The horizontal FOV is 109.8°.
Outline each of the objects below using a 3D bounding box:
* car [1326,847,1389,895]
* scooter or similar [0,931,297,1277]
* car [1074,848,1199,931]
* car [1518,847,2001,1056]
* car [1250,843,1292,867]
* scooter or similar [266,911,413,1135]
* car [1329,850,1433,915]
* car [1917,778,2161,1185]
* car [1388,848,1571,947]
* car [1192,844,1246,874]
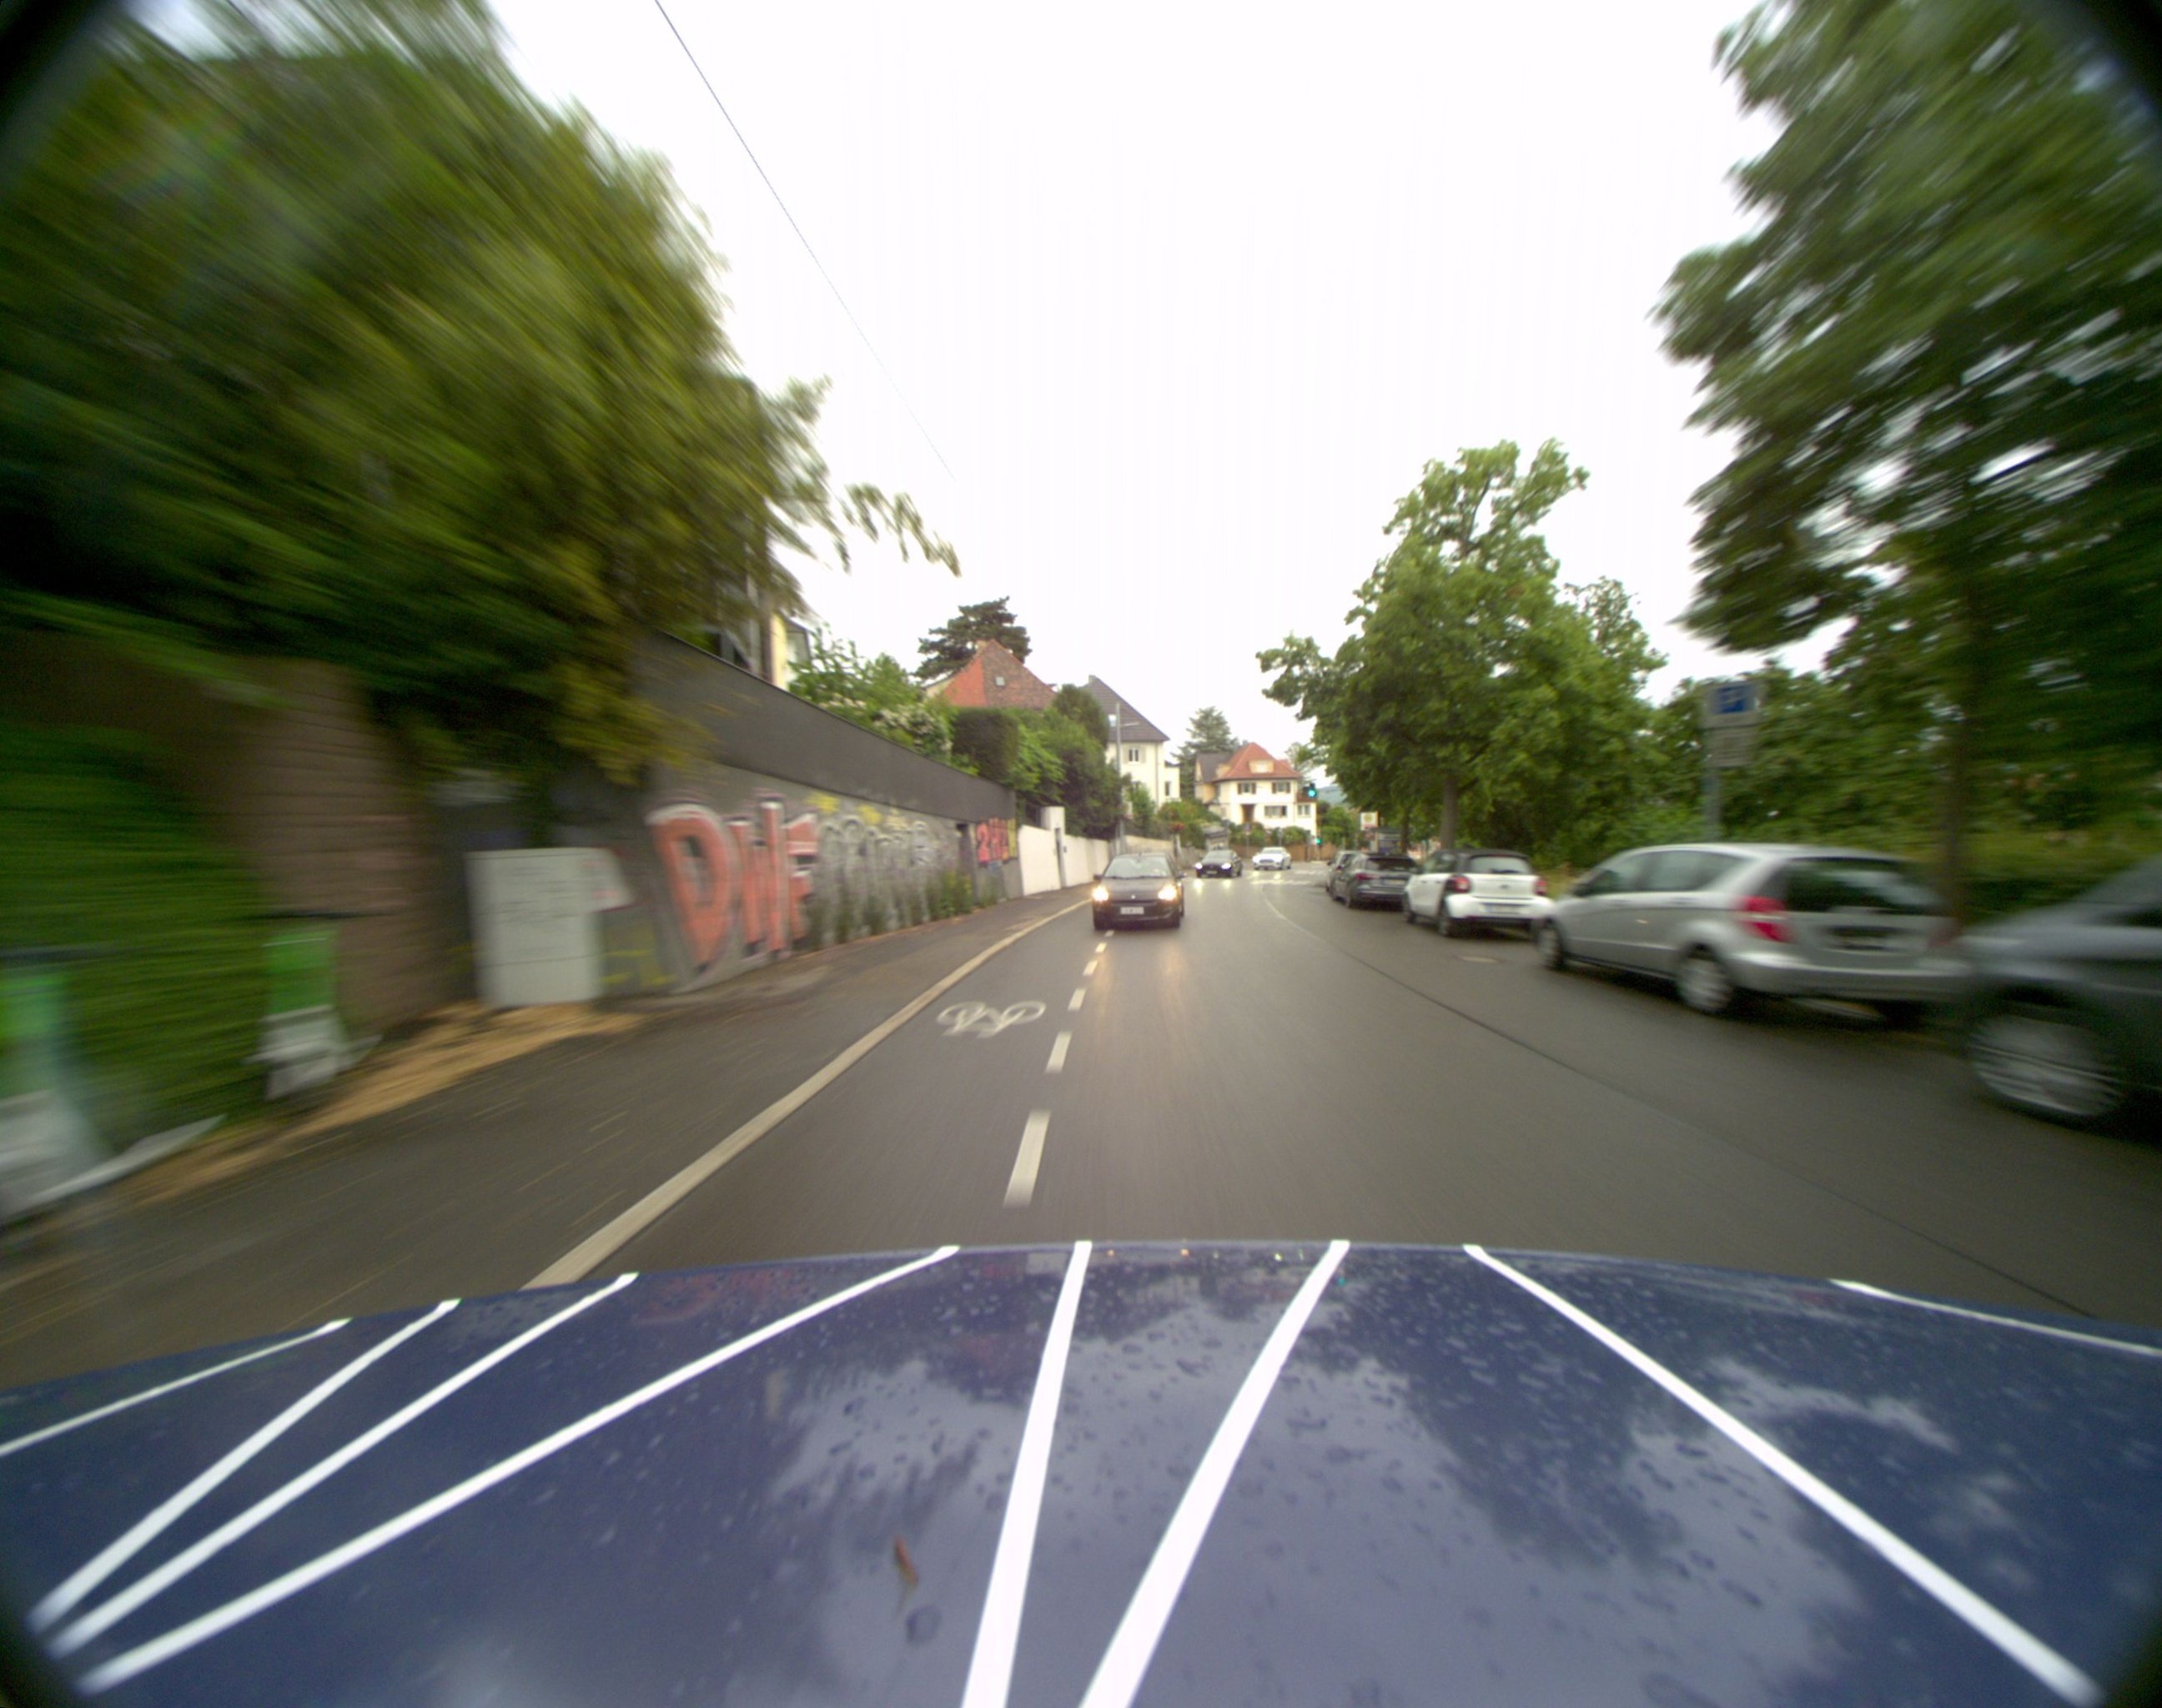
[{"bbox_3d":[9.085,0.533,25.218,1.657,1.421,4.381,1,0,16],"label":"car"},{"bbox_3d":[-4.214,0.979,3.410,0.347,1.111,1.420,1,0,-19],"label":"scooter or similar"},{"bbox_3d":[1.332,0.631,15.991,1.802,1.418,4.387,0,2,15],"label":"car"},{"bbox_3d":[6.434,0.757,7.897,1.687,1.544,3.766,2,2,3],"label":"car"},{"bbox_3d":[13.707,0.027,54.684,2.027,1.619,4.235,0,1,26],"label":"car"},{"bbox_3d":[-4.736,0.997,4.924,0.347,1.111,1.418,-1,2,-31],"label":"scooter or similar"},{"bbox_3d":[7.728,0.651,19.973,1.686,1.372,4.504,2,2,11],"label":"car"},{"bbox_3d":[6.074,0.633,2.211,1.958,1.956,5.004,2,0,5],"label":"car"},{"bbox_3d":[7.222,0.676,14.280,1.686,1.501,4.208,2,1,8],"label":"car"},{"bbox_3d":[7.361,0.222,40.145,2.027,1.454,4.006,-1,1,22],"label":"car"}]
